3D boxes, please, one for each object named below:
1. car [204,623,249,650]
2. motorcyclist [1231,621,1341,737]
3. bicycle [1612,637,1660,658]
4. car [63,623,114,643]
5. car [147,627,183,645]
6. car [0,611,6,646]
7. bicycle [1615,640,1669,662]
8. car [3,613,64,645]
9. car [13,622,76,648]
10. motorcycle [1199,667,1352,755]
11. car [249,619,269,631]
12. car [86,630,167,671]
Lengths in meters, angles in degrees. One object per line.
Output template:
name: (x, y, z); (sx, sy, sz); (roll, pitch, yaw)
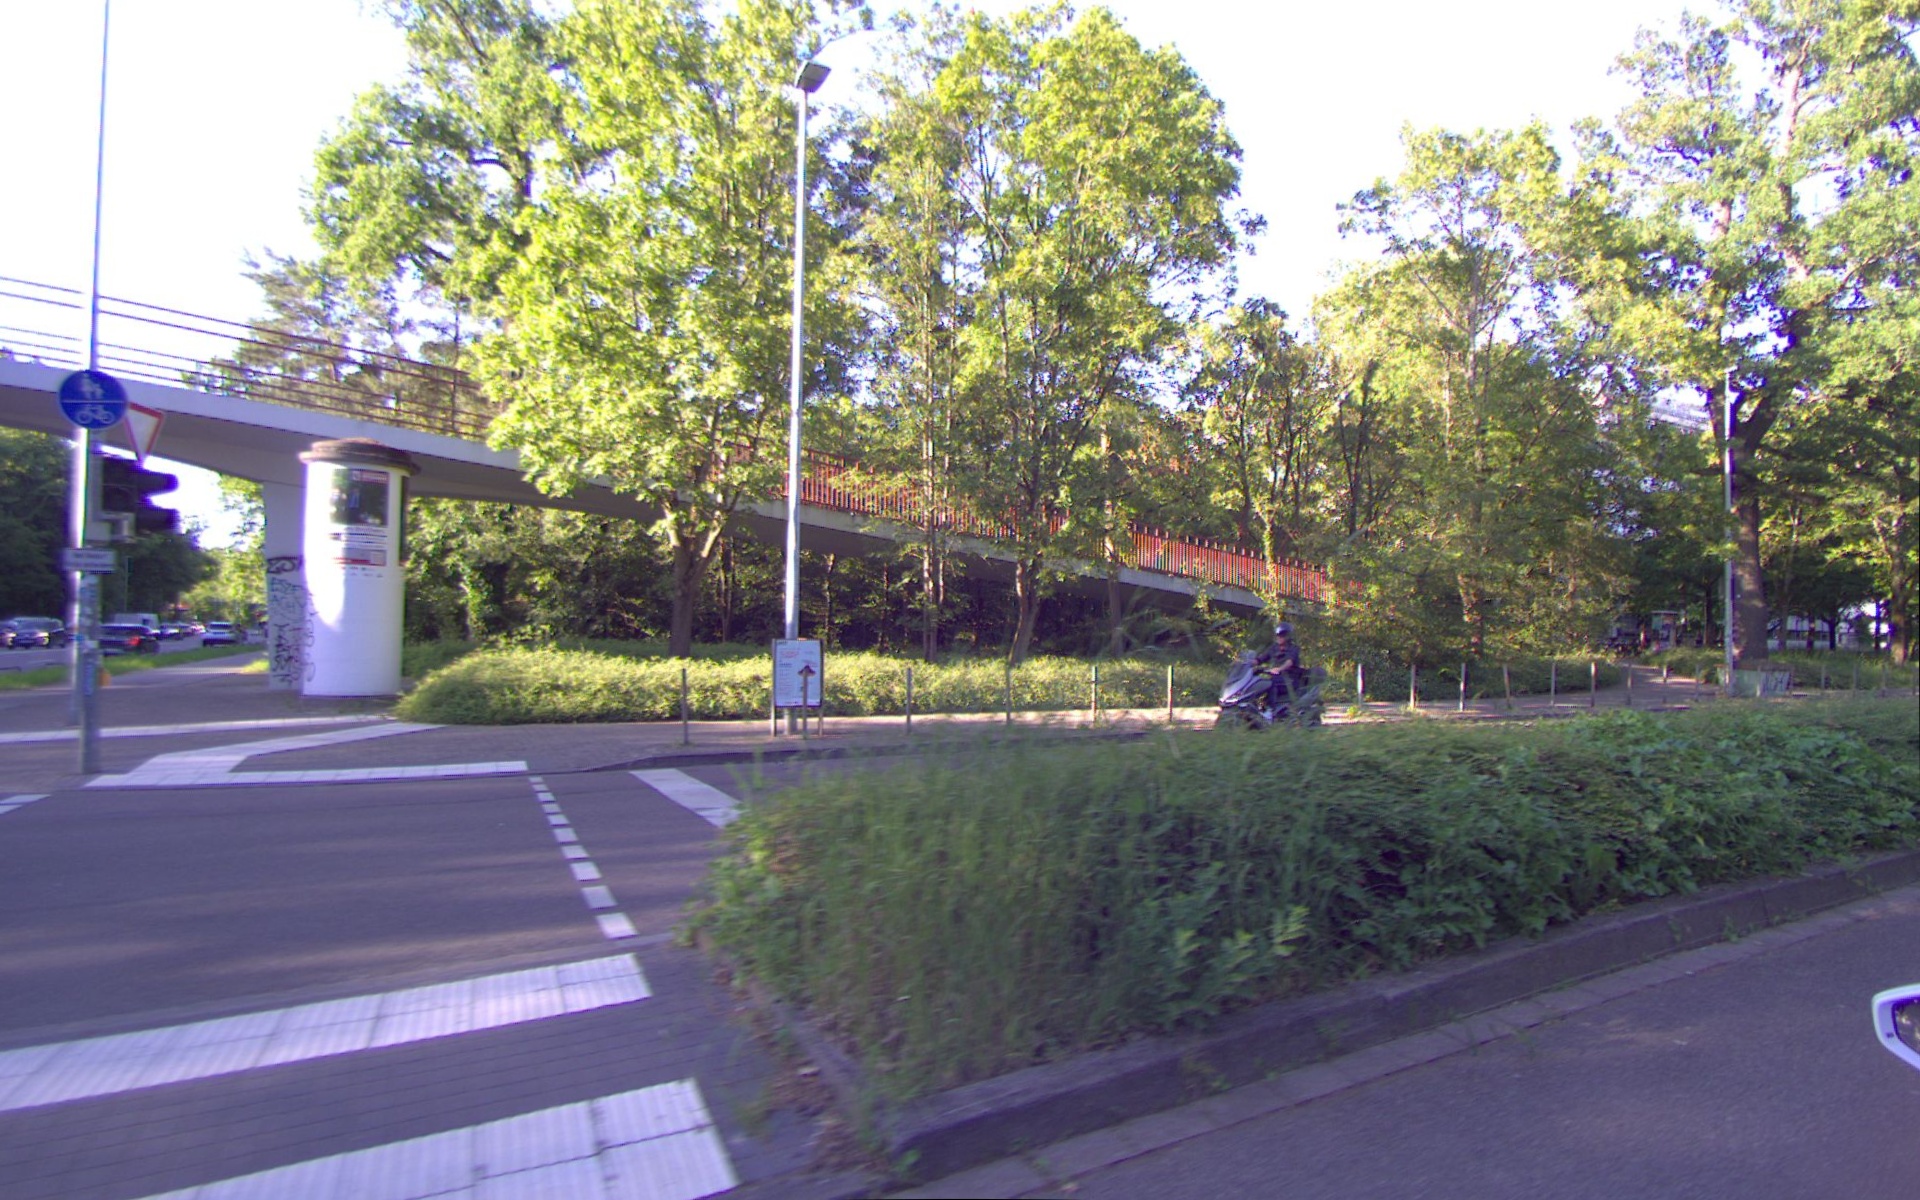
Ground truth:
car: (-45.608, 2.235, 62.510); (1.662, 1.543, 3.872); (4, -3, -29)
motorcyclist: (4.384, 1.033, 13.520); (1.057, 1.490, 0.944); (2, -2, -28)
bicycle: (37.367, 2.618, 55.541); (2.589, 1.086, 0.536); (1, 3, -13)
car: (-58.099, 2.190, 67.016); (1.716, 1.260, 3.969); (2, -2, -29)
car: (-72.731, 3.282, 91.930); (1.873, 1.589, 4.362); (3, -3, -29)
car: (-55.509, 1.568, 56.085); (1.994, 2.001, 5.003); (3, -3, -29)
bicycle: (36.774, 2.731, 54.204); (2.380, 1.086, 0.537); (1, 2, 9)
car: (-61.579, 1.955, 66.821); (1.930, 2.001, 4.362); (3, -3, -29)
car: (-46.164, 1.775, 50.722); (1.448, 1.260, 3.969); (2, -2, -29)
motorcycle: (4.243, 1.452, 13.428); (2.259, 1.083, 0.521); (2, -2, -28)
car: (-99.971, 3.571, 143.367); (1.873, 1.519, 4.362); (3, -3, -29)
car: (-33.324, 2.001, 40.265); (1.693, 1.471, 3.613); (6, -4, -28)
